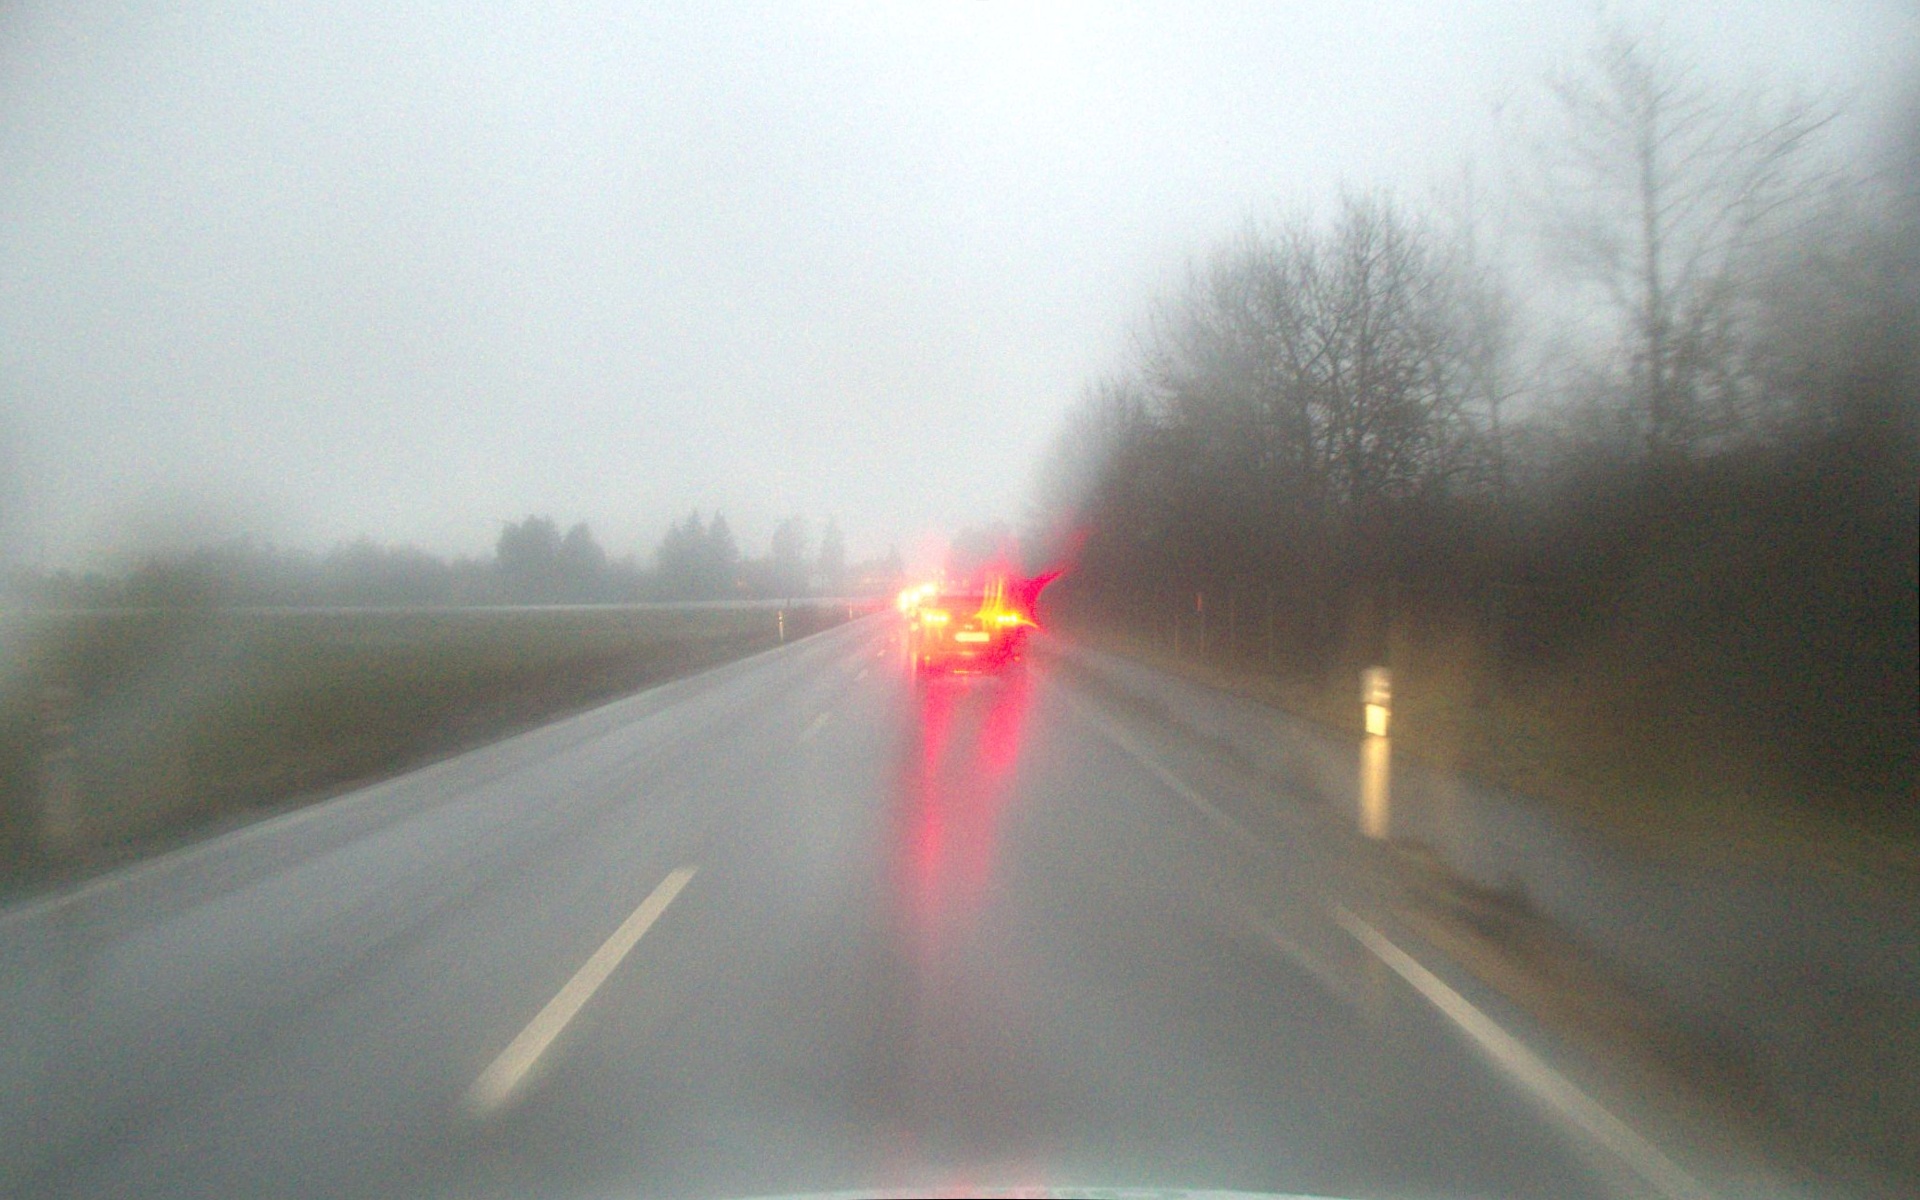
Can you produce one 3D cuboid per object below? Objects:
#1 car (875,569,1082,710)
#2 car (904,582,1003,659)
[{"bbox_3d":[0.254,0.572,28.497,3.100,2.071,6.851,-1,0,-1],"label":"car"},{"bbox_3d":[-0.209,0.523,48.905,2.700,2.071,6.590,-1,0,-1],"label":"car"}]
